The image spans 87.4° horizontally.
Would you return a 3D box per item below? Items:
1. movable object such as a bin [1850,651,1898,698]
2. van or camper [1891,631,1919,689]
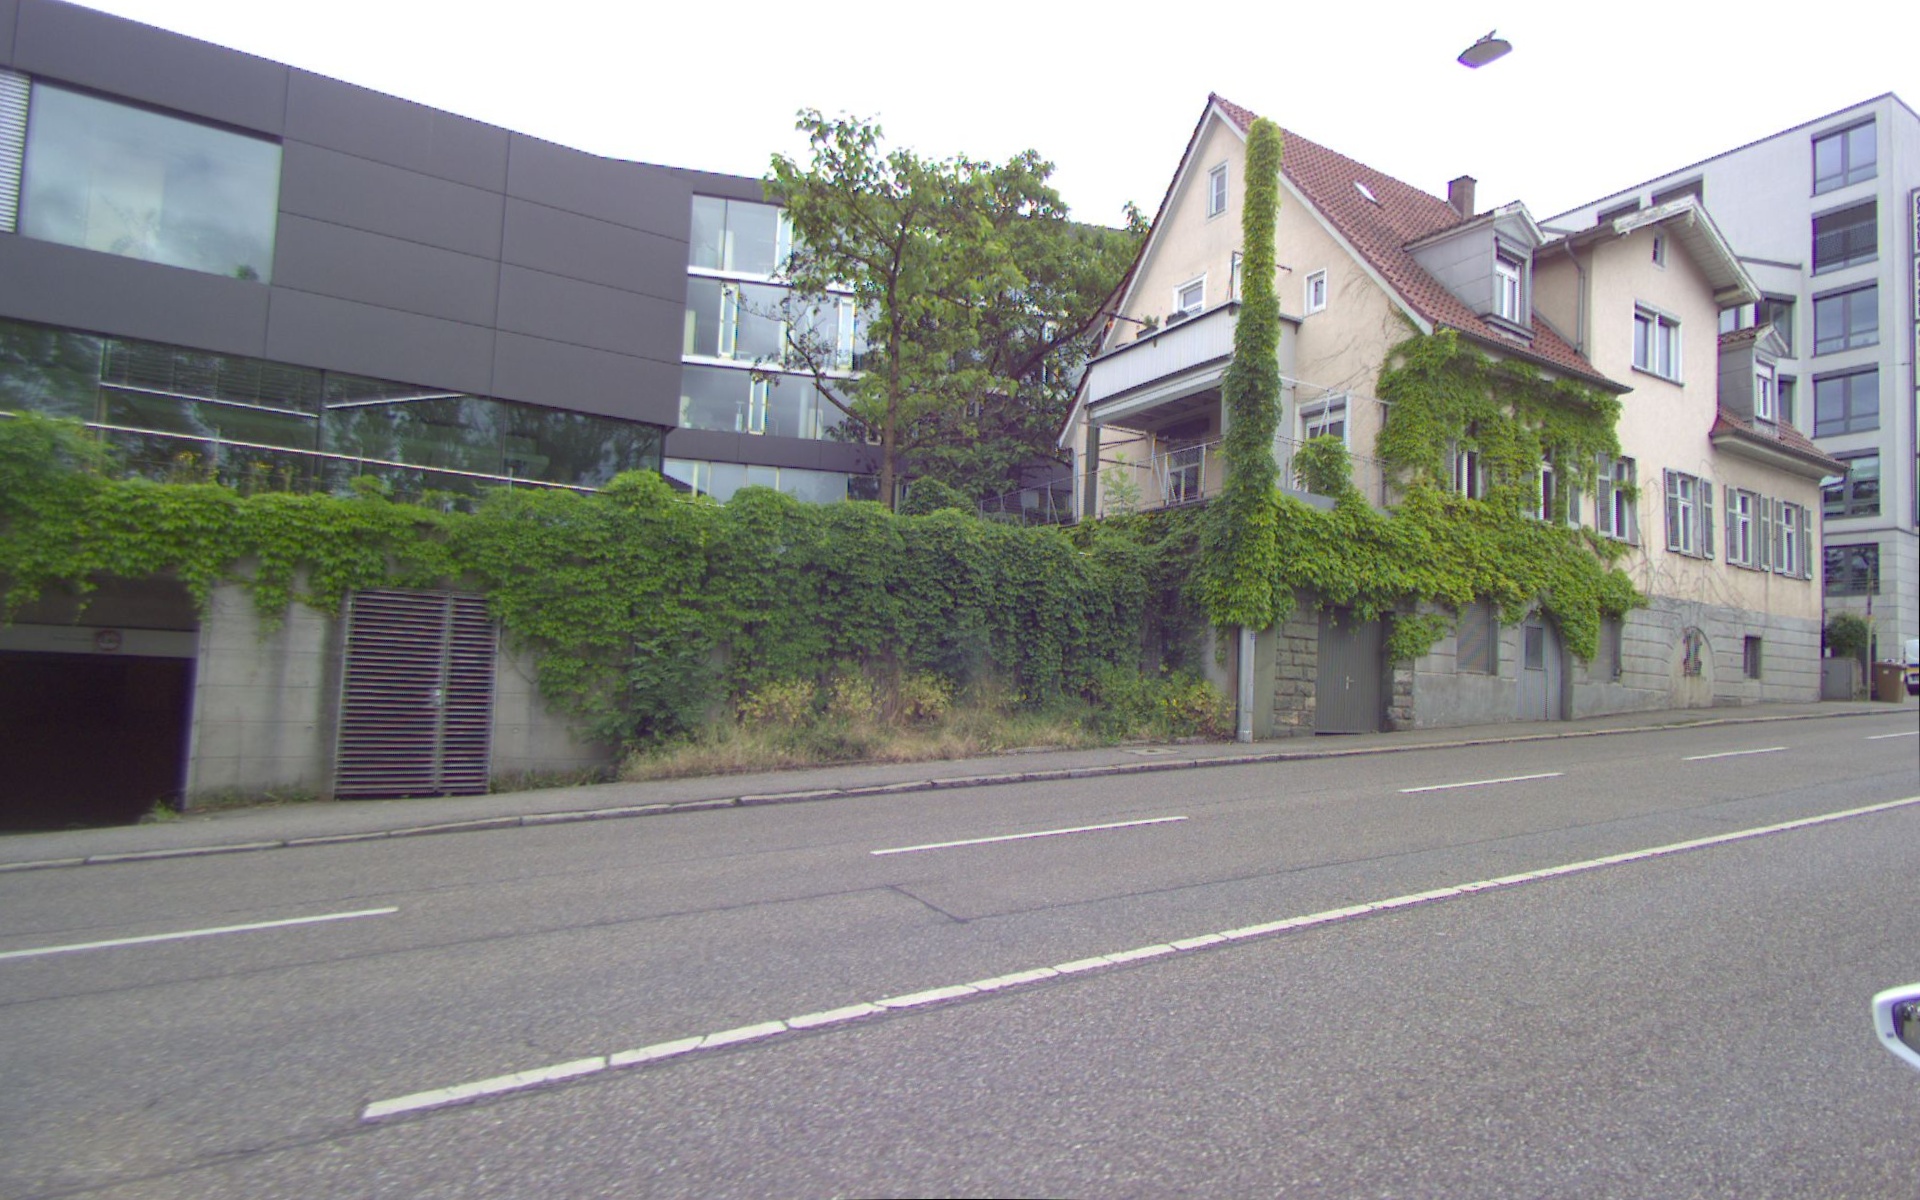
[{"bbox_3d":[24.819,2.013,27.267,0.692,1.205,0.804,1,1,-36],"label":"movable object such as a bin"},{"bbox_3d":[35.057,2.109,35.483,4.820,1.993,2.049,1,-3,-33],"label":"van or camper"}]
